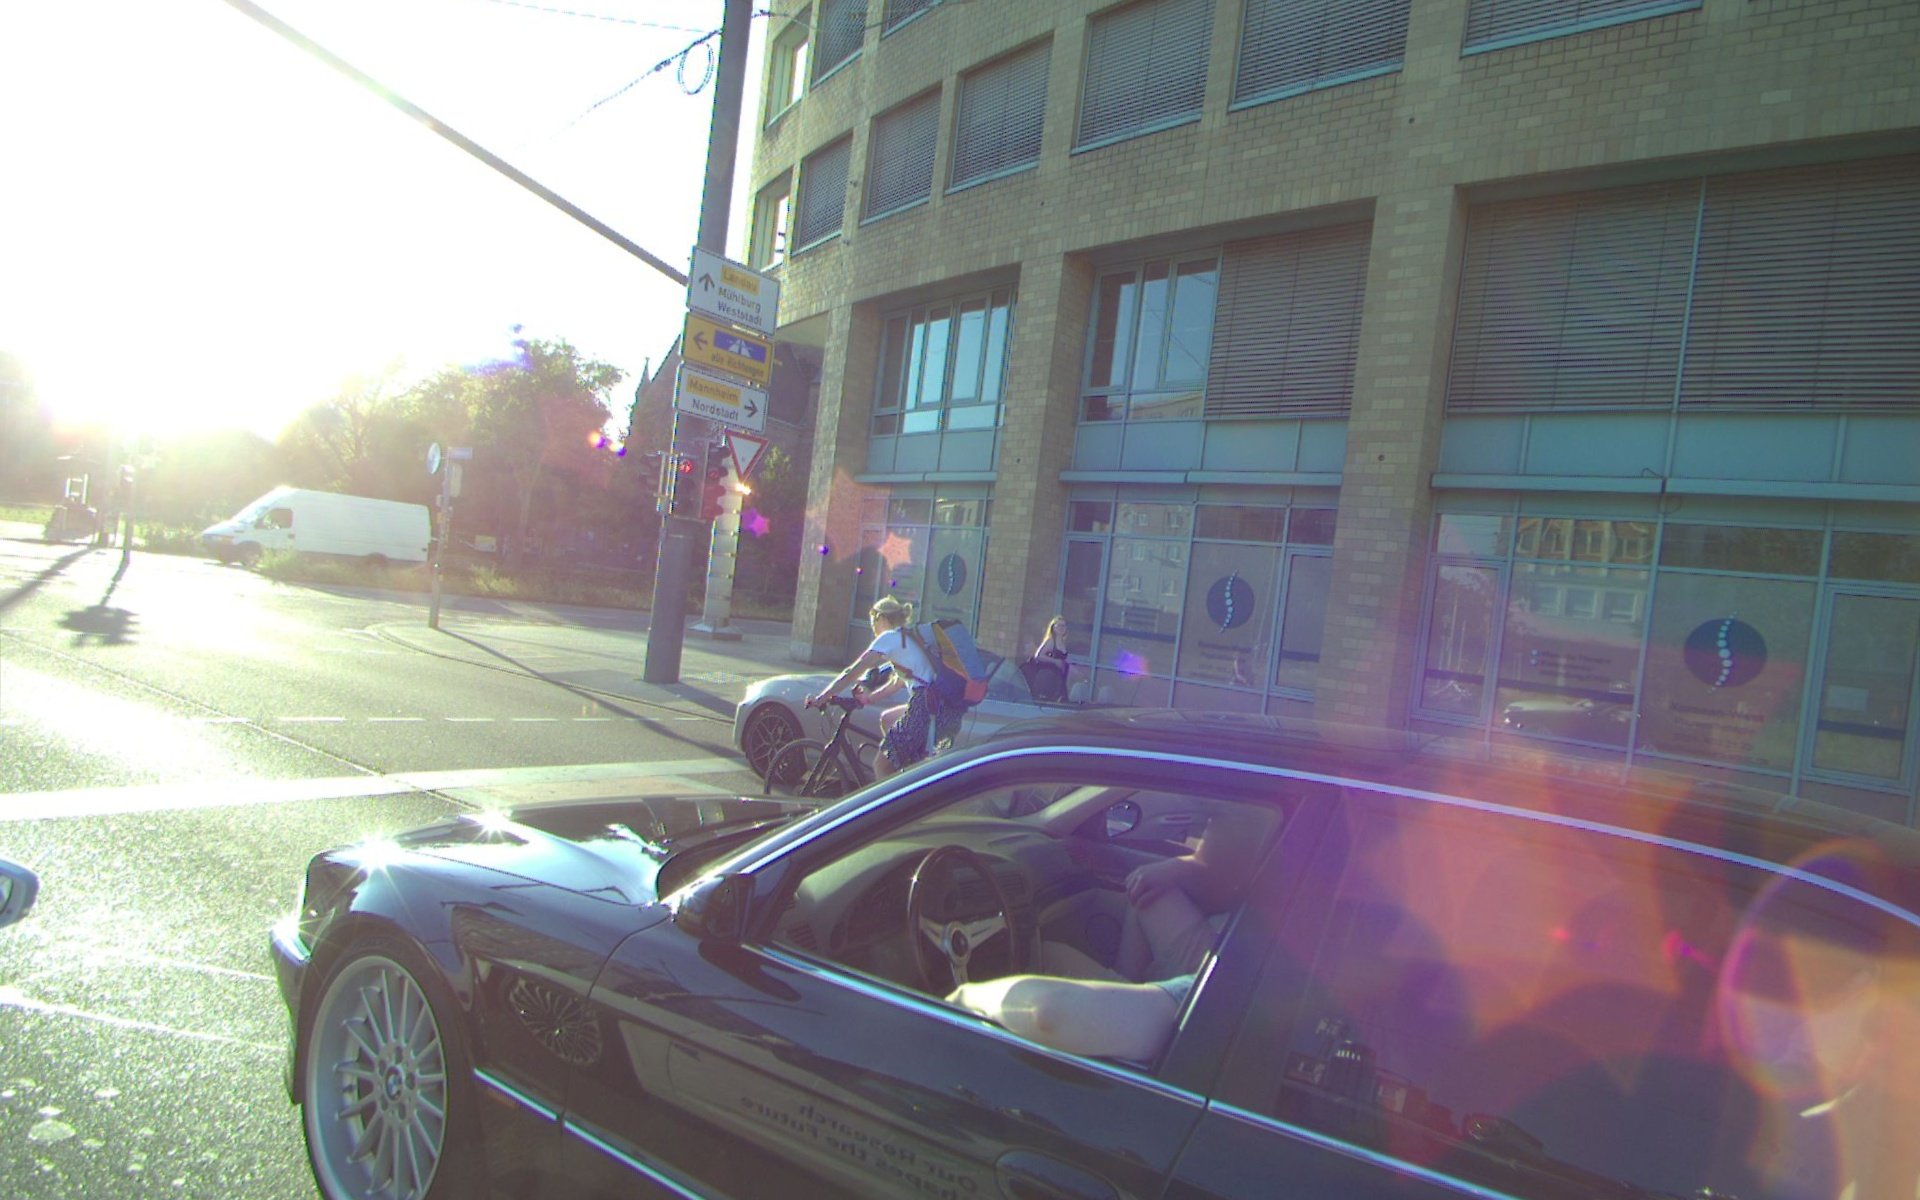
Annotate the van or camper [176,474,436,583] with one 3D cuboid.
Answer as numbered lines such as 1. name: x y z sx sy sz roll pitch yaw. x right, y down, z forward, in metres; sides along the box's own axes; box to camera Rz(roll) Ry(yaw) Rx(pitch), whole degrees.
1. van or camper: -22.629 -2.393 35.244 2.556 2.708 7.048 9 1 33

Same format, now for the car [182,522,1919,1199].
1. car: 0.546 0.838 2.113 4.563 1.370 1.833 8 0 31

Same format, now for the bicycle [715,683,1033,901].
1. bicycle: -0.516 1.020 5.696 1.746 0.965 0.516 2 -3 29

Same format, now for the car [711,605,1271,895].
1. car: 0.163 1.054 8.358 4.195 1.370 1.786 8 0 31

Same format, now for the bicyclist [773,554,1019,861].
1. bicyclist: -0.358 0.572 5.694 1.020 1.501 0.657 7 -1 29

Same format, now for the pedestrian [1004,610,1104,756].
1. pedestrian: 1.130 0.977 12.023 0.786 1.589 0.678 9 2 29
